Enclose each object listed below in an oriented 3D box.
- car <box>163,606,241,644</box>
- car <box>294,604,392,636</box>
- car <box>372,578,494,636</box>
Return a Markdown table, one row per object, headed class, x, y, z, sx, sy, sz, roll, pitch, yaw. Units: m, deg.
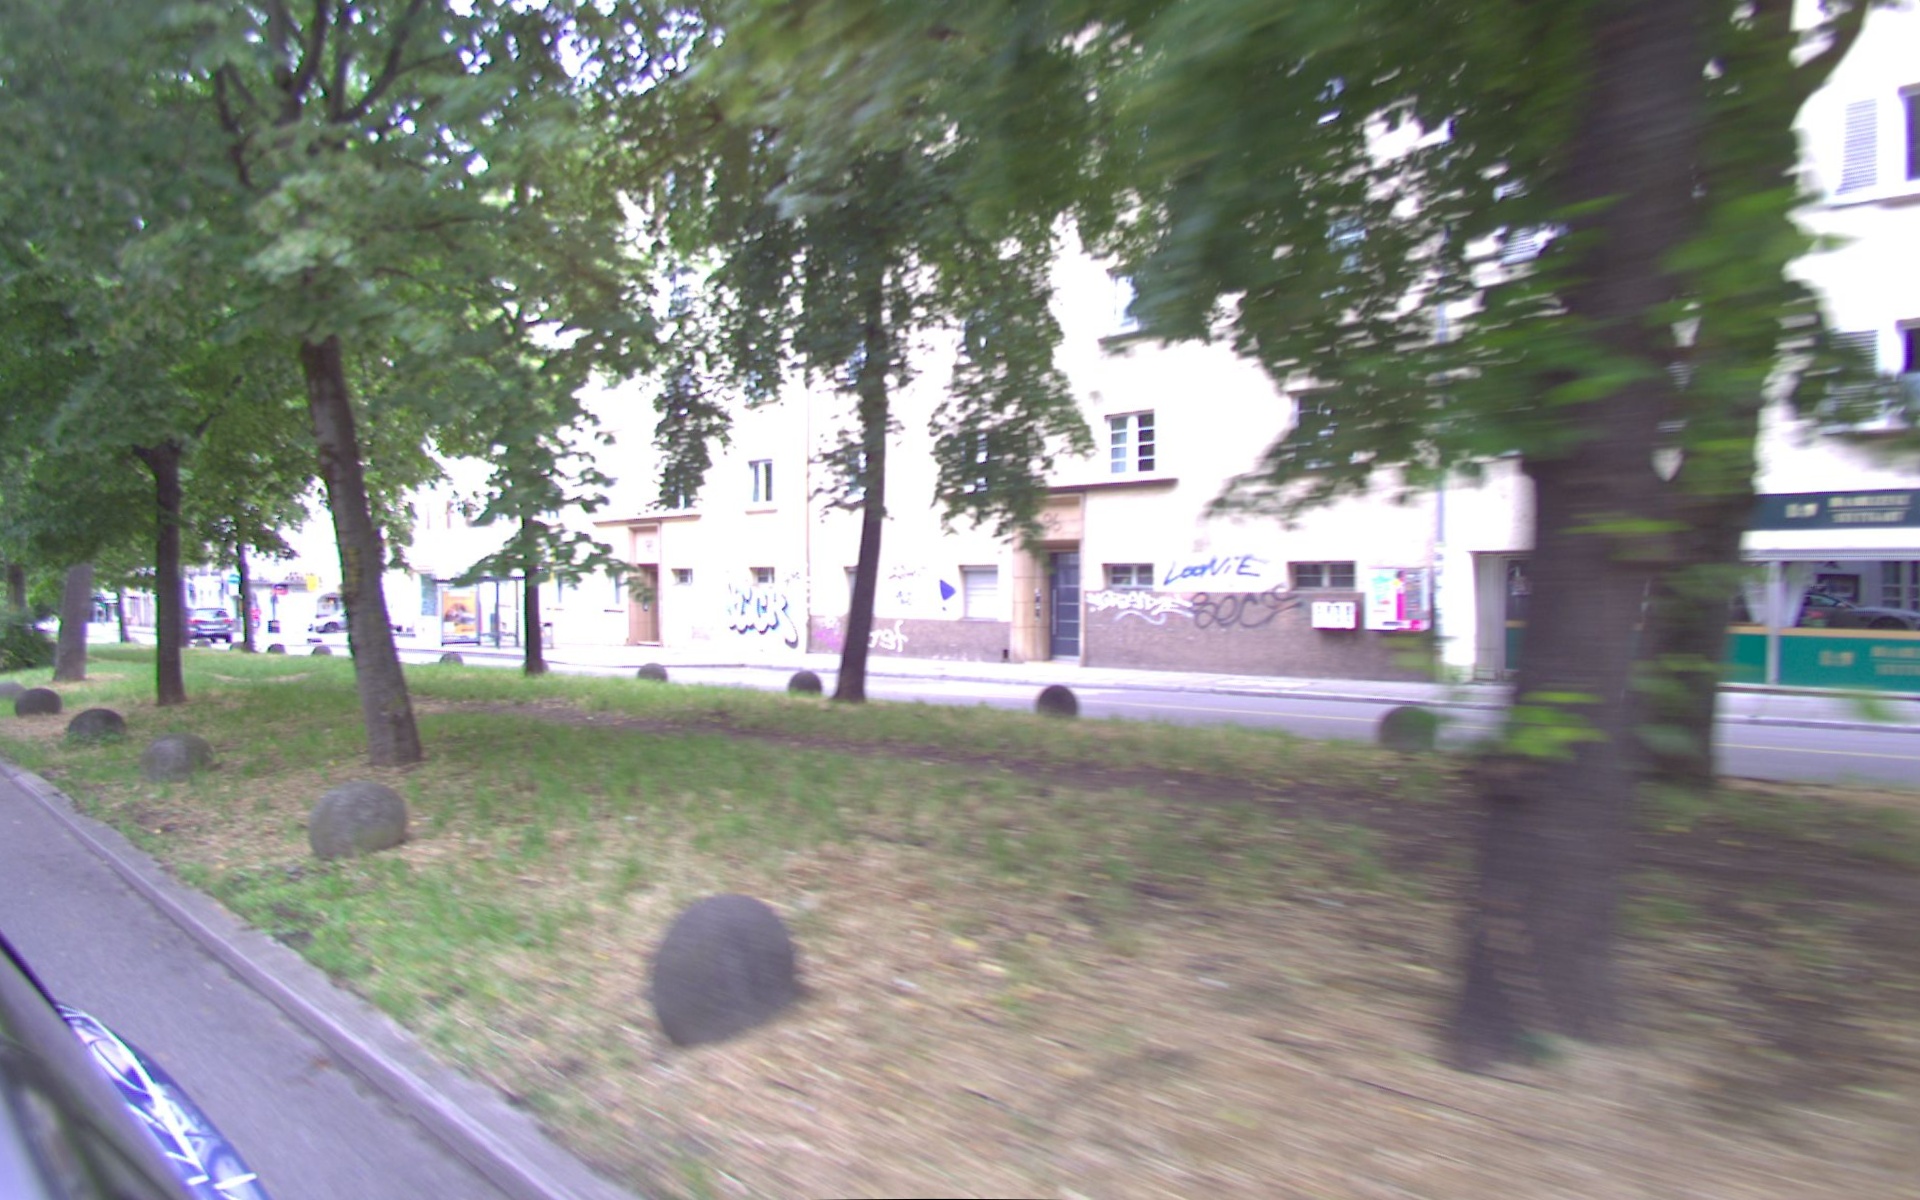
| class | x | y | z | sx | sy | sz | roll | pitch | yaw |
| --- | --- | --- | --- | --- | --- | --- | --- | --- | --- |
| car | -34.275 | 1.131 | 45.723 | 4.362 | 1.641 | 1.929 | -2 | -1 | 41 |
| car | -34.544 | 1.094 | 56.737 | 2.048 | 1.430 | 4.242 | -2 | 2 | 43 |
| car | -26.977 | 0.305 | 52.015 | 2.168 | 2.757 | 5.137 | -1 | 1 | 30 |
